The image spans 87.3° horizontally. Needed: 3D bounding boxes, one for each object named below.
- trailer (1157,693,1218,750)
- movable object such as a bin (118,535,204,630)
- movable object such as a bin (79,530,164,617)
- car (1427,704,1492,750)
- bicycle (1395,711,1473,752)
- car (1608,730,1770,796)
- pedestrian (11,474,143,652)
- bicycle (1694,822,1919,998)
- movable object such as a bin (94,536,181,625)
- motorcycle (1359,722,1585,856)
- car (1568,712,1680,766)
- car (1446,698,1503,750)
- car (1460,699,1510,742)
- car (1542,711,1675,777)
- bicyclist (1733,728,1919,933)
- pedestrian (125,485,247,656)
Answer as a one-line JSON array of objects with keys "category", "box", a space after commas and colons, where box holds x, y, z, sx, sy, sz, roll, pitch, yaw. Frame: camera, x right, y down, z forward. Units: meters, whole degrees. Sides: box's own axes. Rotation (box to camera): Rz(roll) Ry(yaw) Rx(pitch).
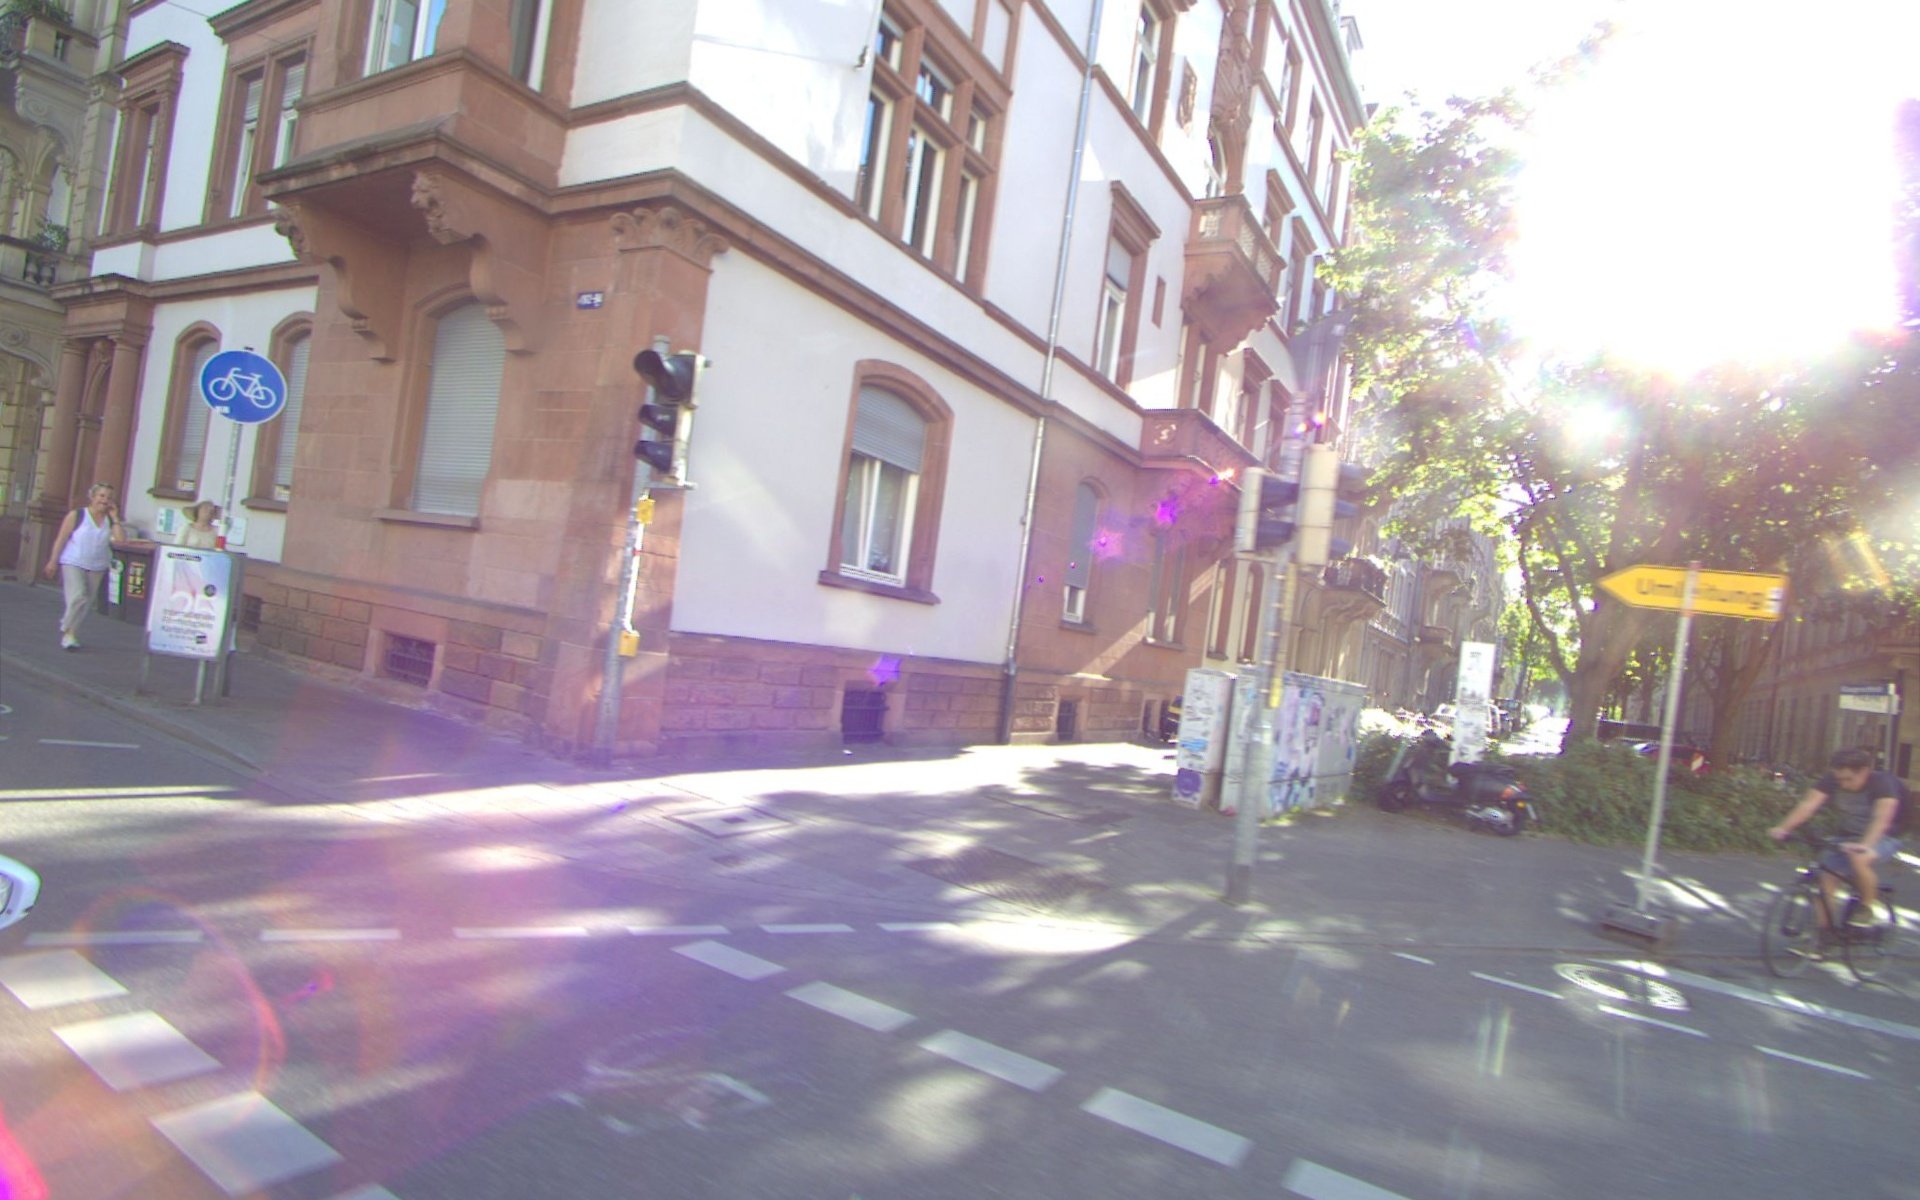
[{"category": "trailer", "box": [4.384, 2.329, 19.372, 0.818, 0.934, 0.781, 9, -1, 30]}, {"category": "movable object such as a bin", "box": [-10.639, -0.228, 13.405, 0.584, 1.169, 0.666, 8, 2, 31]}, {"category": "movable object such as a bin", "box": [-11.678, -0.364, 14.017, 0.561, 1.090, 0.667, 8, 0, 31]}, {"category": "car", "box": [19.564, 4.981, 39.325, 1.537, 1.444, 3.801, 6, -4, 36]}, {"category": "bicycle", "box": [16.159, 4.471, 34.328, 2.127, 0.898, 1.014, 12, 1, 38]}, {"category": "car", "box": [24.774, 5.508, 34.278, 4.100, 1.449, 1.639, 8, -1, 5]}, {"category": "pedestrian", "box": [-9.154, -0.373, 10.441, 0.670, 1.721, 0.628, 7, -1, 23]}, {"category": "bicycle", "box": [6.892, 2.420, 7.892, 2.071, 1.056, 0.843, 9, -2, -24]}, {"category": "movable object such as a bin", "box": [-11.162, -0.261, 13.661, 0.561, 1.090, 0.667, 7, 0, 31]}, {"category": "motorcycle", "box": [6.385, 2.318, 12.647, 2.350, 1.138, 0.612, 9, 0, 31]}, {"category": "car", "box": [32.257, 6.724, 48.949, 3.927, 1.884, 2.003, 8, -1, -1]}, {"category": "car", "box": [22.642, 5.422, 44.205, 1.611, 1.884, 3.993, 10, 0, 33]}, {"category": "car", "box": [27.009, 6.174, 51.652, 1.715, 1.884, 3.993, 7, -2, 33]}, {"category": "car", "box": [25.399, 5.630, 39.483, 3.924, 1.886, 1.638, 7, 0, 5]}, {"category": "bicyclist", "box": [6.888, 1.780, 7.832, 1.121, 1.359, 0.833, 8, -1, -24]}, {"category": "pedestrian", "box": [-8.738, -0.320, 11.368, 0.661, 1.803, 0.707, 7, -1, 30]}]
